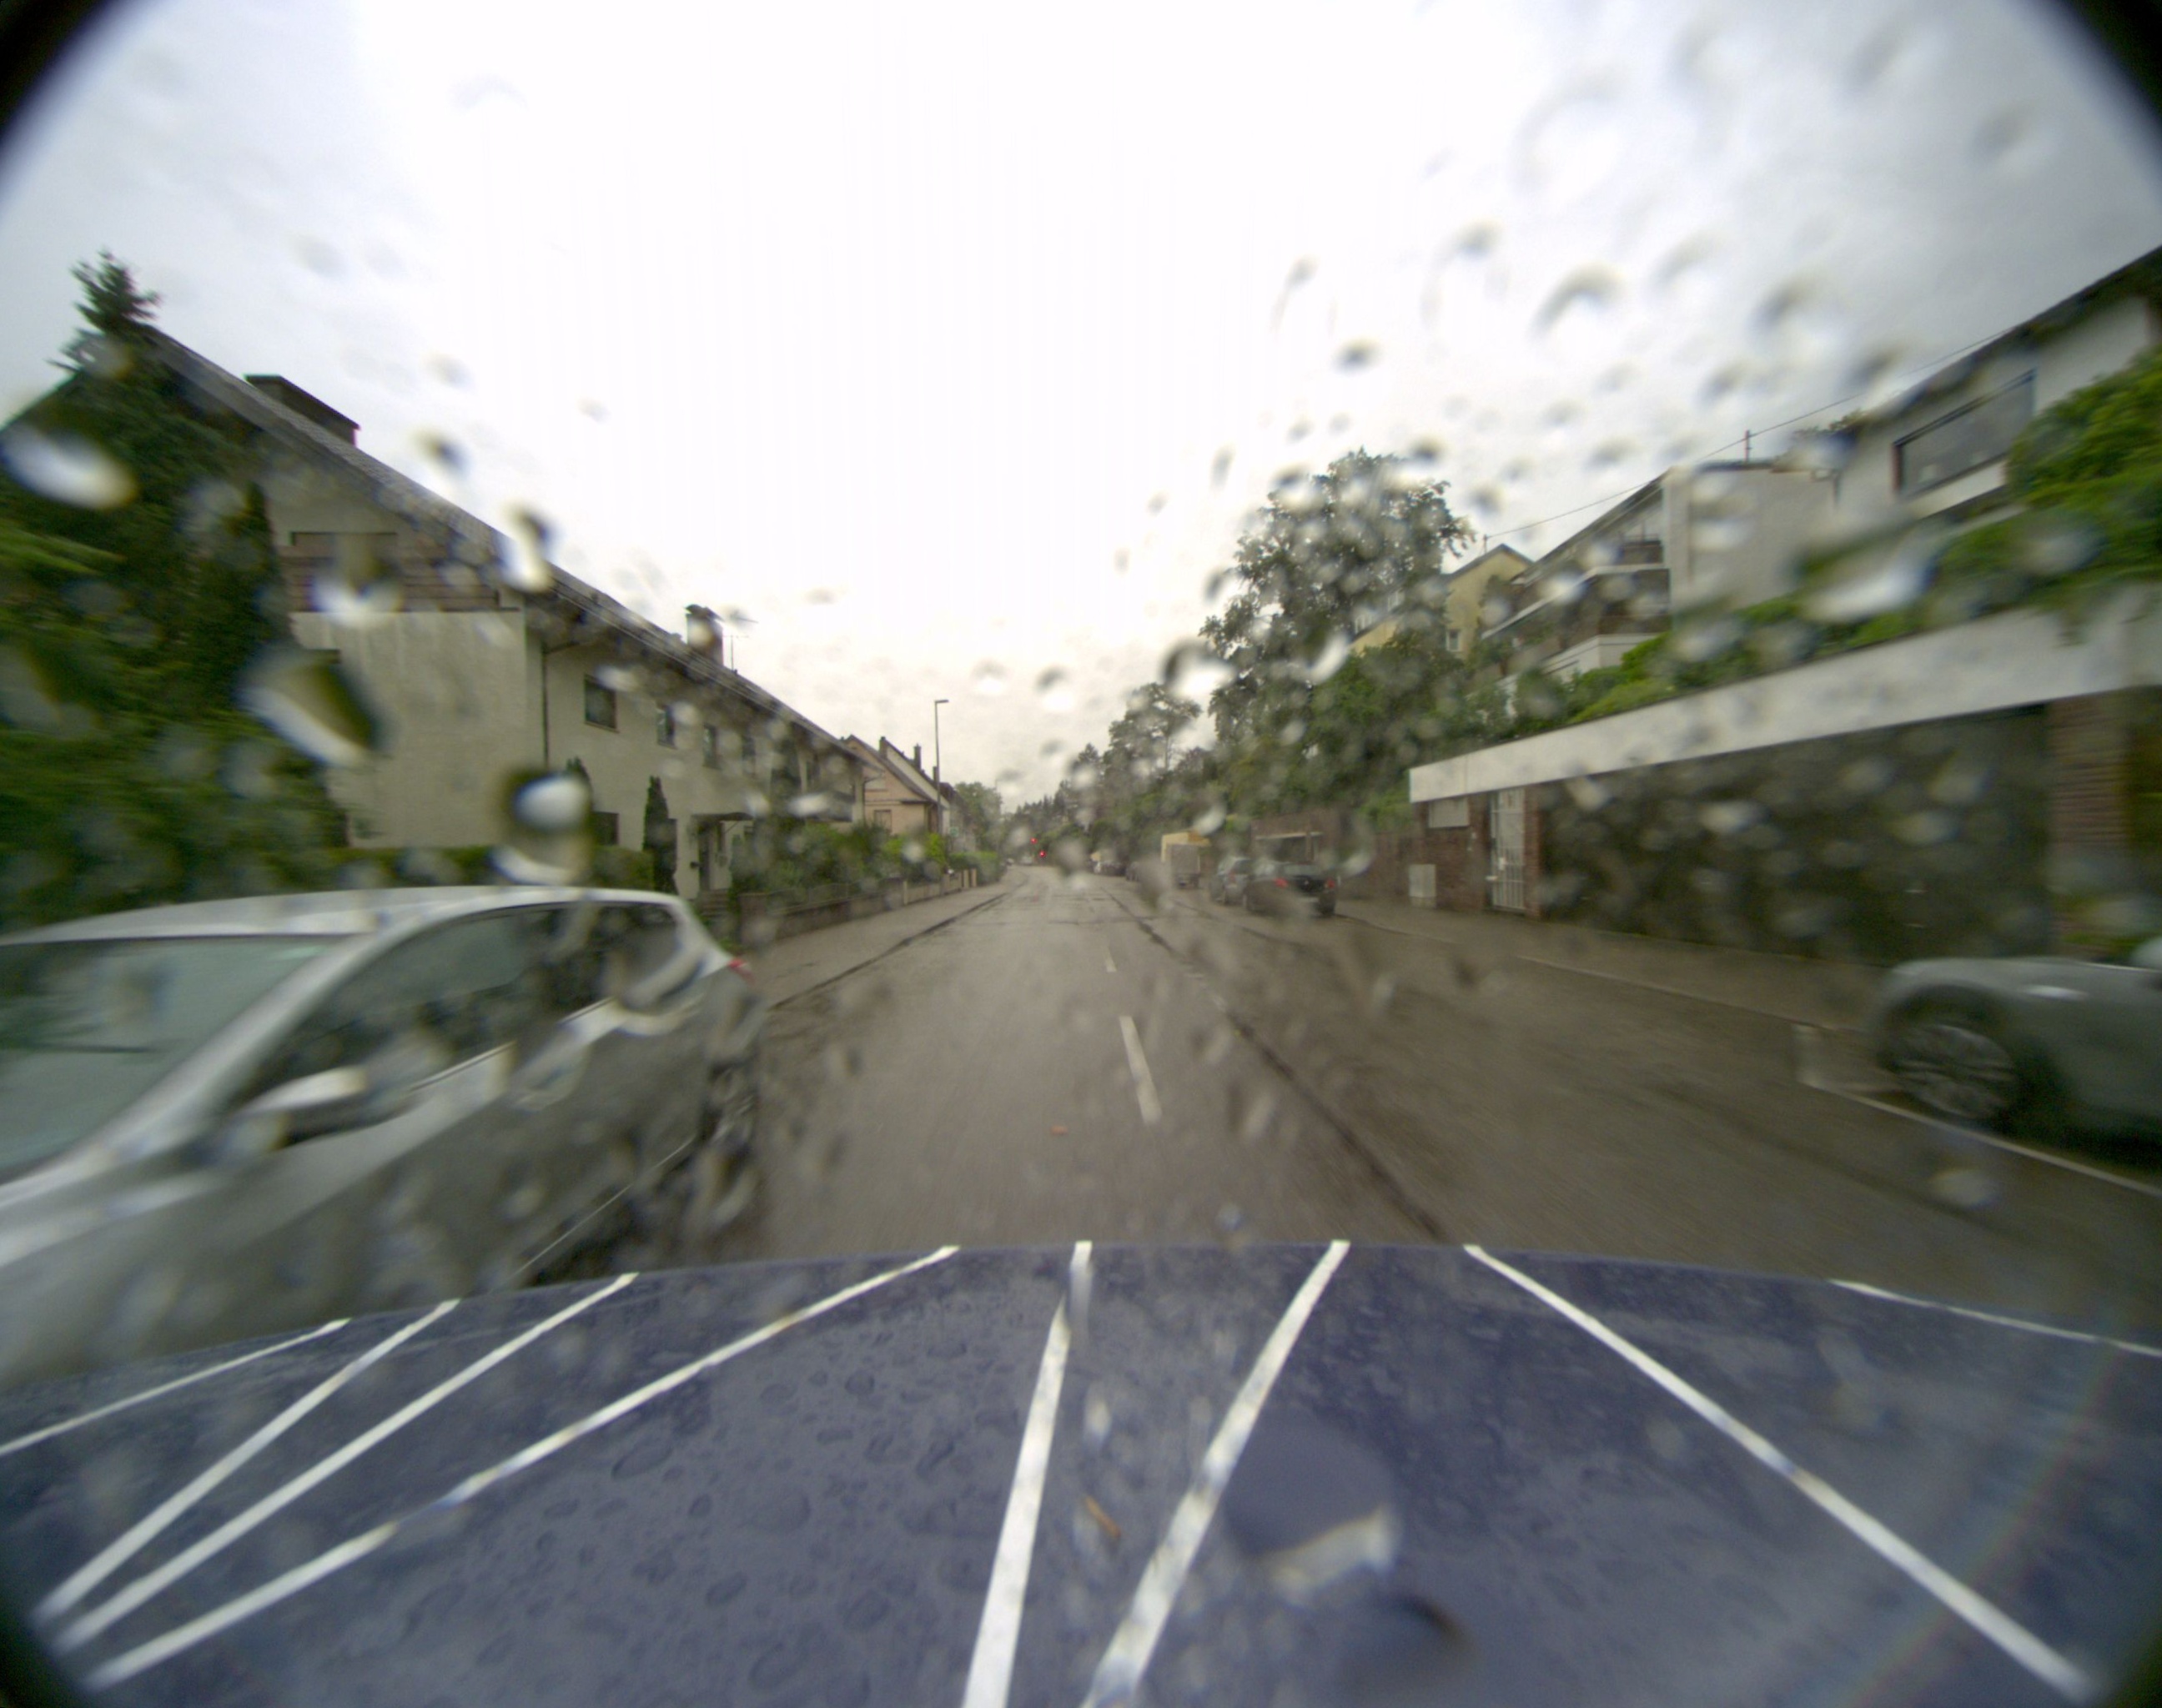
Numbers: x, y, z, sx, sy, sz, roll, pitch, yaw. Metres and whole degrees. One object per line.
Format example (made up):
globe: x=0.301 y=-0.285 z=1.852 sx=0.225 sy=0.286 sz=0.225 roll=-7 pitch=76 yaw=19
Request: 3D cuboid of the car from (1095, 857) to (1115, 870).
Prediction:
car: x=2.690 y=1.101 z=86.394 sx=1.722 sy=1.357 sz=4.081 roll=2 pitch=-1 yaw=-7

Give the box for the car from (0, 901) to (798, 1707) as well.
car: x=-2.584 y=1.004 z=2.144 sx=1.793 sy=1.451 sz=4.309 roll=-1 pitch=0 yaw=2

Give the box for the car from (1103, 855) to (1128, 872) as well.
car: x=3.452 y=0.936 z=76.539 sx=1.879 sy=1.616 sz=4.592 roll=3 pitch=-1 yaw=-4

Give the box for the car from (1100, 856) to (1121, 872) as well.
car: x=3.135 y=1.053 z=81.545 sx=1.746 sy=1.552 sz=4.108 roll=2 pitch=0 yaw=-3

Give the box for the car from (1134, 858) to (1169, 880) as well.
car: x=4.818 y=1.015 z=52.478 sx=1.790 sy=1.406 sz=4.216 roll=1 pitch=-1 yaw=-3

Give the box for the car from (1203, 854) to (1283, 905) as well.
car: x=5.393 y=0.820 z=25.761 sx=1.760 sy=1.530 sz=3.756 roll=3 pitch=-1 yaw=-2

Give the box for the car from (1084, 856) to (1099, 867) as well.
car: x=1.431 y=1.029 z=102.853 sx=1.569 sy=1.356 sz=3.905 roll=1 pitch=0 yaw=-7

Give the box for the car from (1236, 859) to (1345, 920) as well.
car: x=5.471 y=0.882 z=20.318 sx=1.760 sy=1.400 sz=3.704 roll=3 pitch=-1 yaw=-2

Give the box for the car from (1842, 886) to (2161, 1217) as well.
car: x=5.634 y=0.920 z=2.820 sx=1.760 sy=1.394 sz=3.769 roll=2 pitch=0 yaw=-1

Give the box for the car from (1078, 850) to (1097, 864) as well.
car: x=0.880 y=0.454 z=108.066 sx=2.165 sy=1.907 sz=5.320 roll=1 pitch=0 yaw=-5

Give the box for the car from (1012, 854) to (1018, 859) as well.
car: x=-22.419 y=0.946 z=257.573 sx=1.926 sy=1.747 sz=3.997 roll=-1 pitch=0 yaw=-9

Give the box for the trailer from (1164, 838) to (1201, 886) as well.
trailer: x=5.410 y=0.429 z=40.621 sx=1.540 sy=2.385 sz=3.073 roll=2 pitch=0 yaw=1

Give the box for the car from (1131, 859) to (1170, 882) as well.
car: x=4.175 y=0.995 z=46.078 sx=1.813 sy=1.341 sz=3.775 roll=1 pitch=-1 yaw=-3

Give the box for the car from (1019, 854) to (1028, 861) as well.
car: x=-16.913 y=1.099 z=224.416 sx=2.164 sy=1.944 sz=4.912 roll=2 pitch=0 yaw=-10

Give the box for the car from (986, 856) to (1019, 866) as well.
car: x=-11.604 y=1.076 z=112.117 sx=4.371 sy=1.356 sz=1.923 roll=-1 pitch=1 yaw=27

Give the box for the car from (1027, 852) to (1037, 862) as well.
car: x=-13.314 y=0.806 z=207.111 sx=2.087 sy=2.463 sz=4.849 roll=2 pitch=0 yaw=-10

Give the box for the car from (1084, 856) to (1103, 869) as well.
car: x=1.601 y=1.095 z=97.104 sx=1.914 sy=1.472 sz=4.753 roll=2 pitch=0 yaw=-4

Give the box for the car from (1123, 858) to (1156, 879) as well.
car: x=4.471 y=1.108 z=58.538 sx=1.791 sy=1.446 sz=4.754 roll=2 pitch=-1 yaw=-4
